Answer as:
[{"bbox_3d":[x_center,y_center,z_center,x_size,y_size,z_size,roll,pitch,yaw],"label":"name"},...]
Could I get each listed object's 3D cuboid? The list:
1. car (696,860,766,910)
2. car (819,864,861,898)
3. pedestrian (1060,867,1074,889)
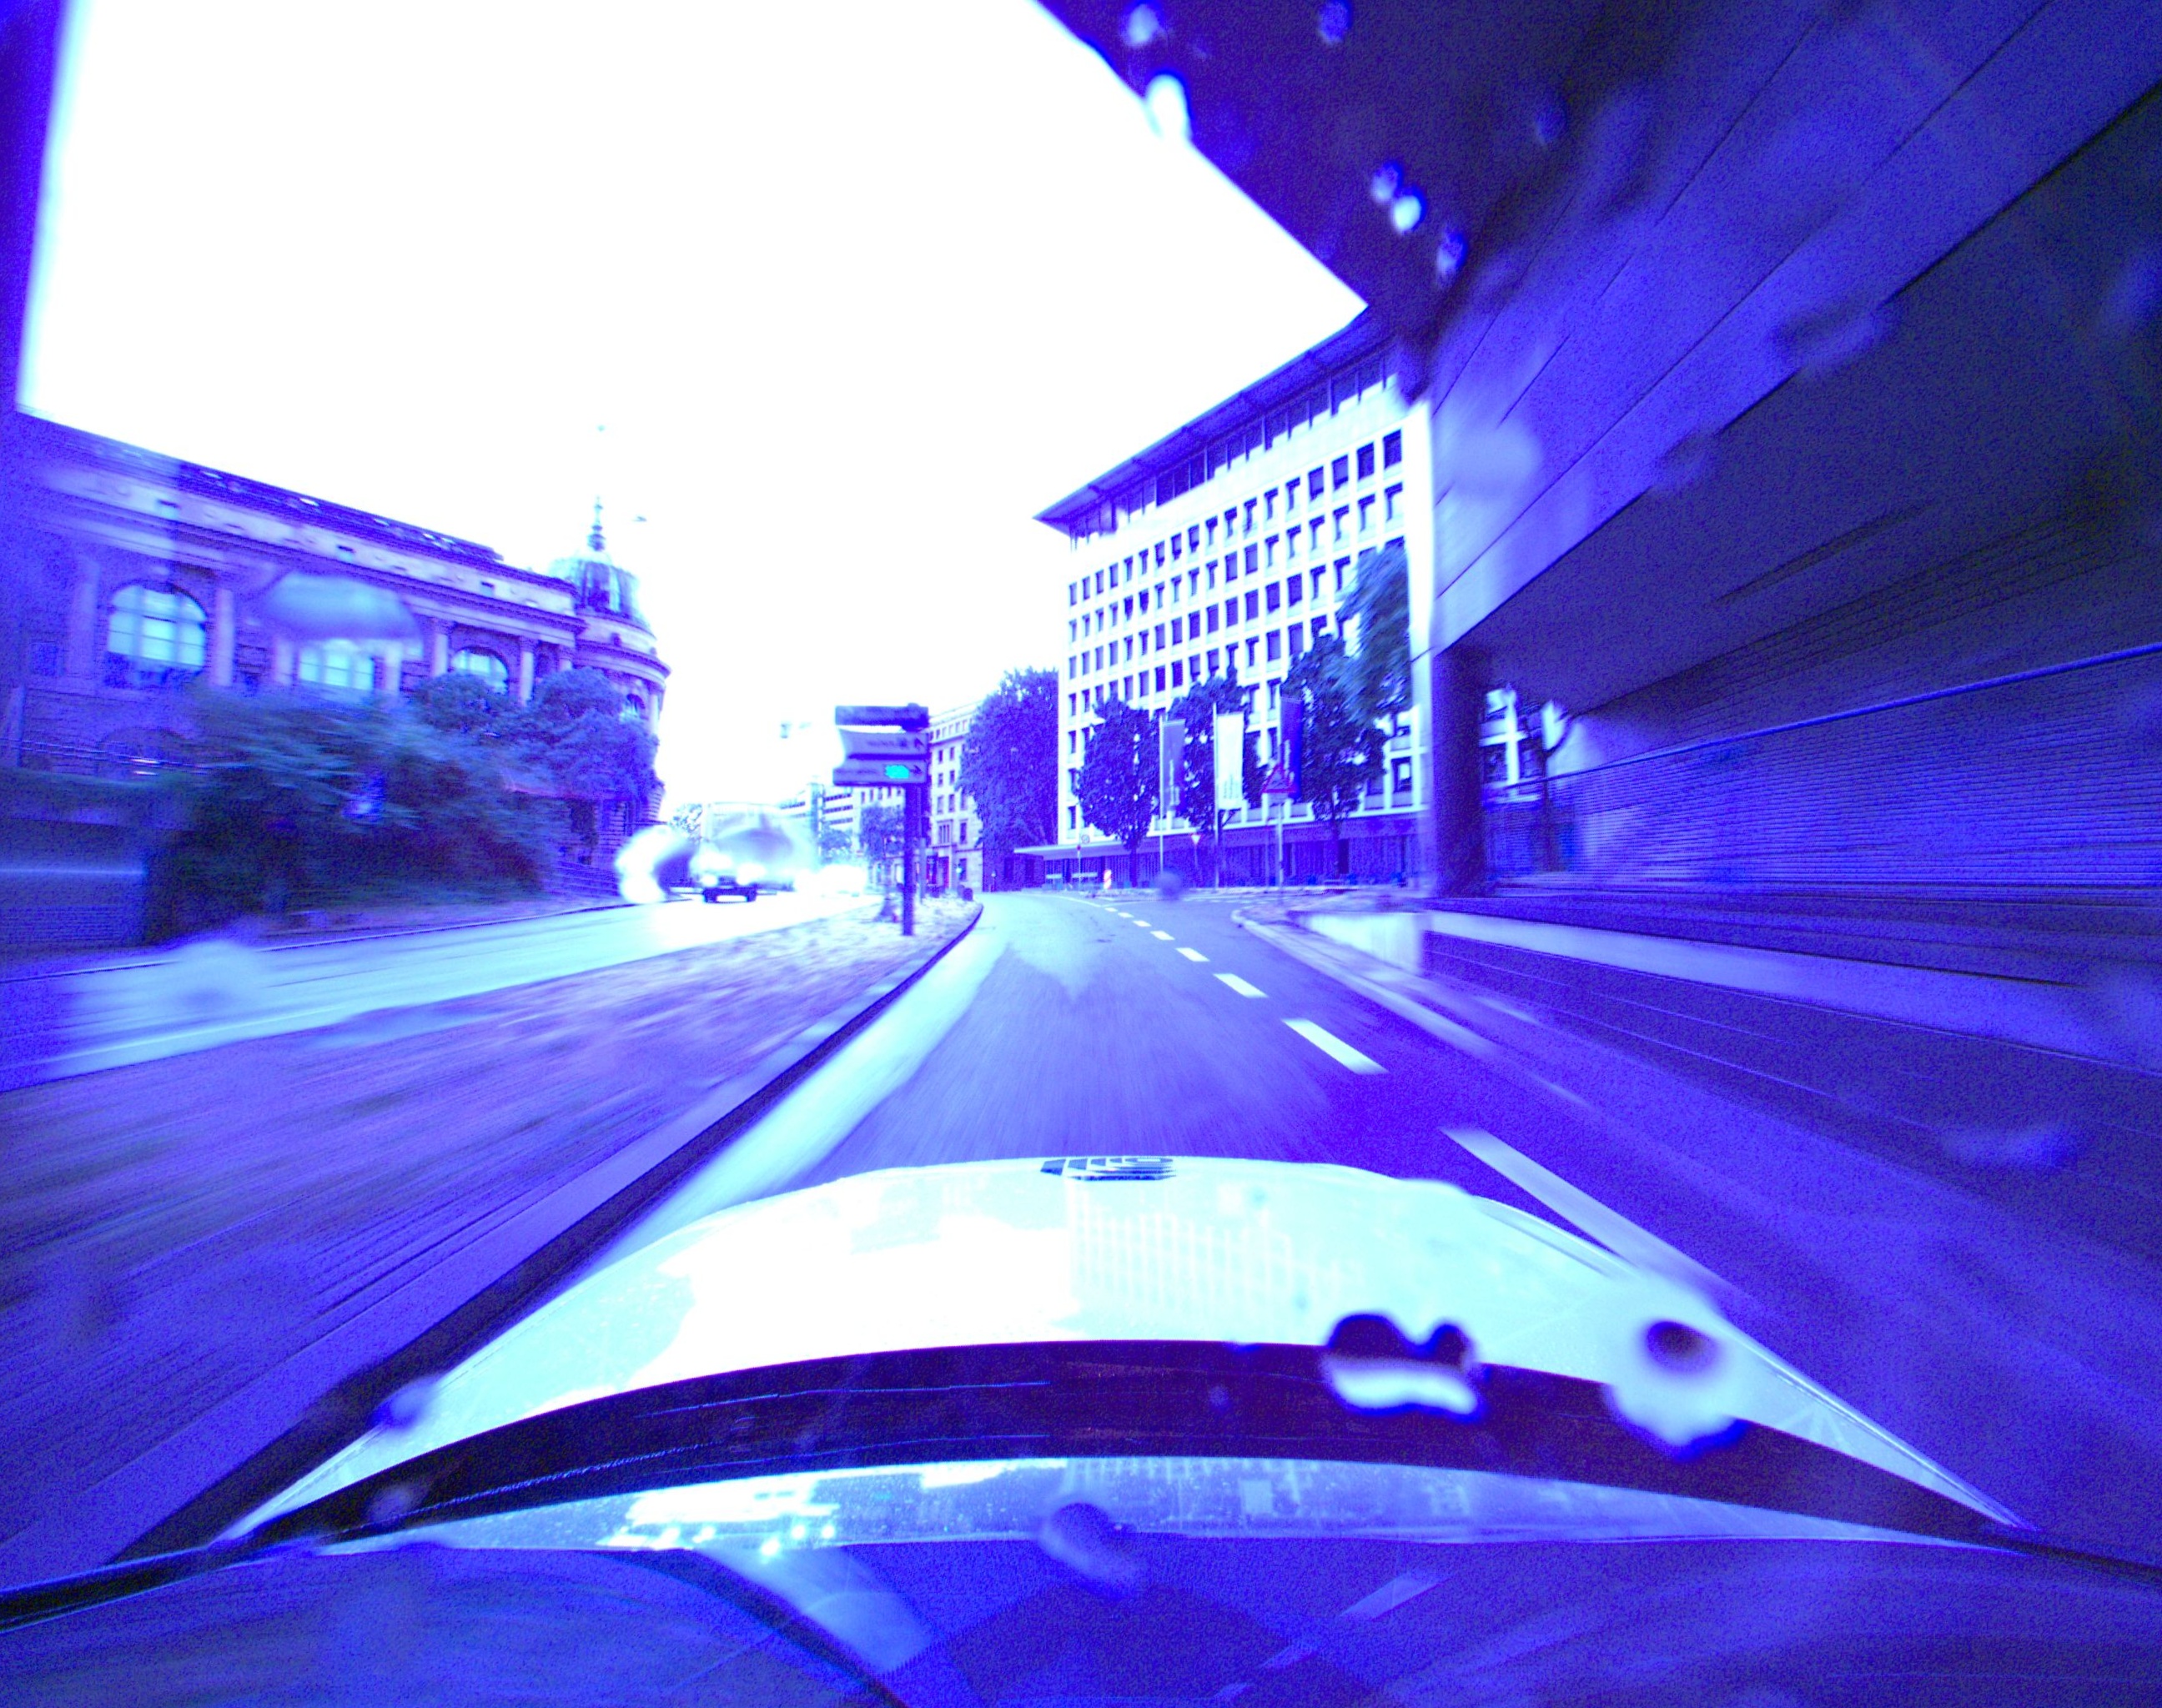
[{"bbox_3d":[-14.841,1.247,34.768,1.838,1.921,4.622,-1,0,-12],"label":"car"},{"bbox_3d":[-12.350,1.316,41.542,1.850,1.588,4.361,-1,0,-19],"label":"car"},{"bbox_3d":[-1.101,1.909,64.451,0.785,1.772,0.853,3,-4,-35],"label":"pedestrian"}]
